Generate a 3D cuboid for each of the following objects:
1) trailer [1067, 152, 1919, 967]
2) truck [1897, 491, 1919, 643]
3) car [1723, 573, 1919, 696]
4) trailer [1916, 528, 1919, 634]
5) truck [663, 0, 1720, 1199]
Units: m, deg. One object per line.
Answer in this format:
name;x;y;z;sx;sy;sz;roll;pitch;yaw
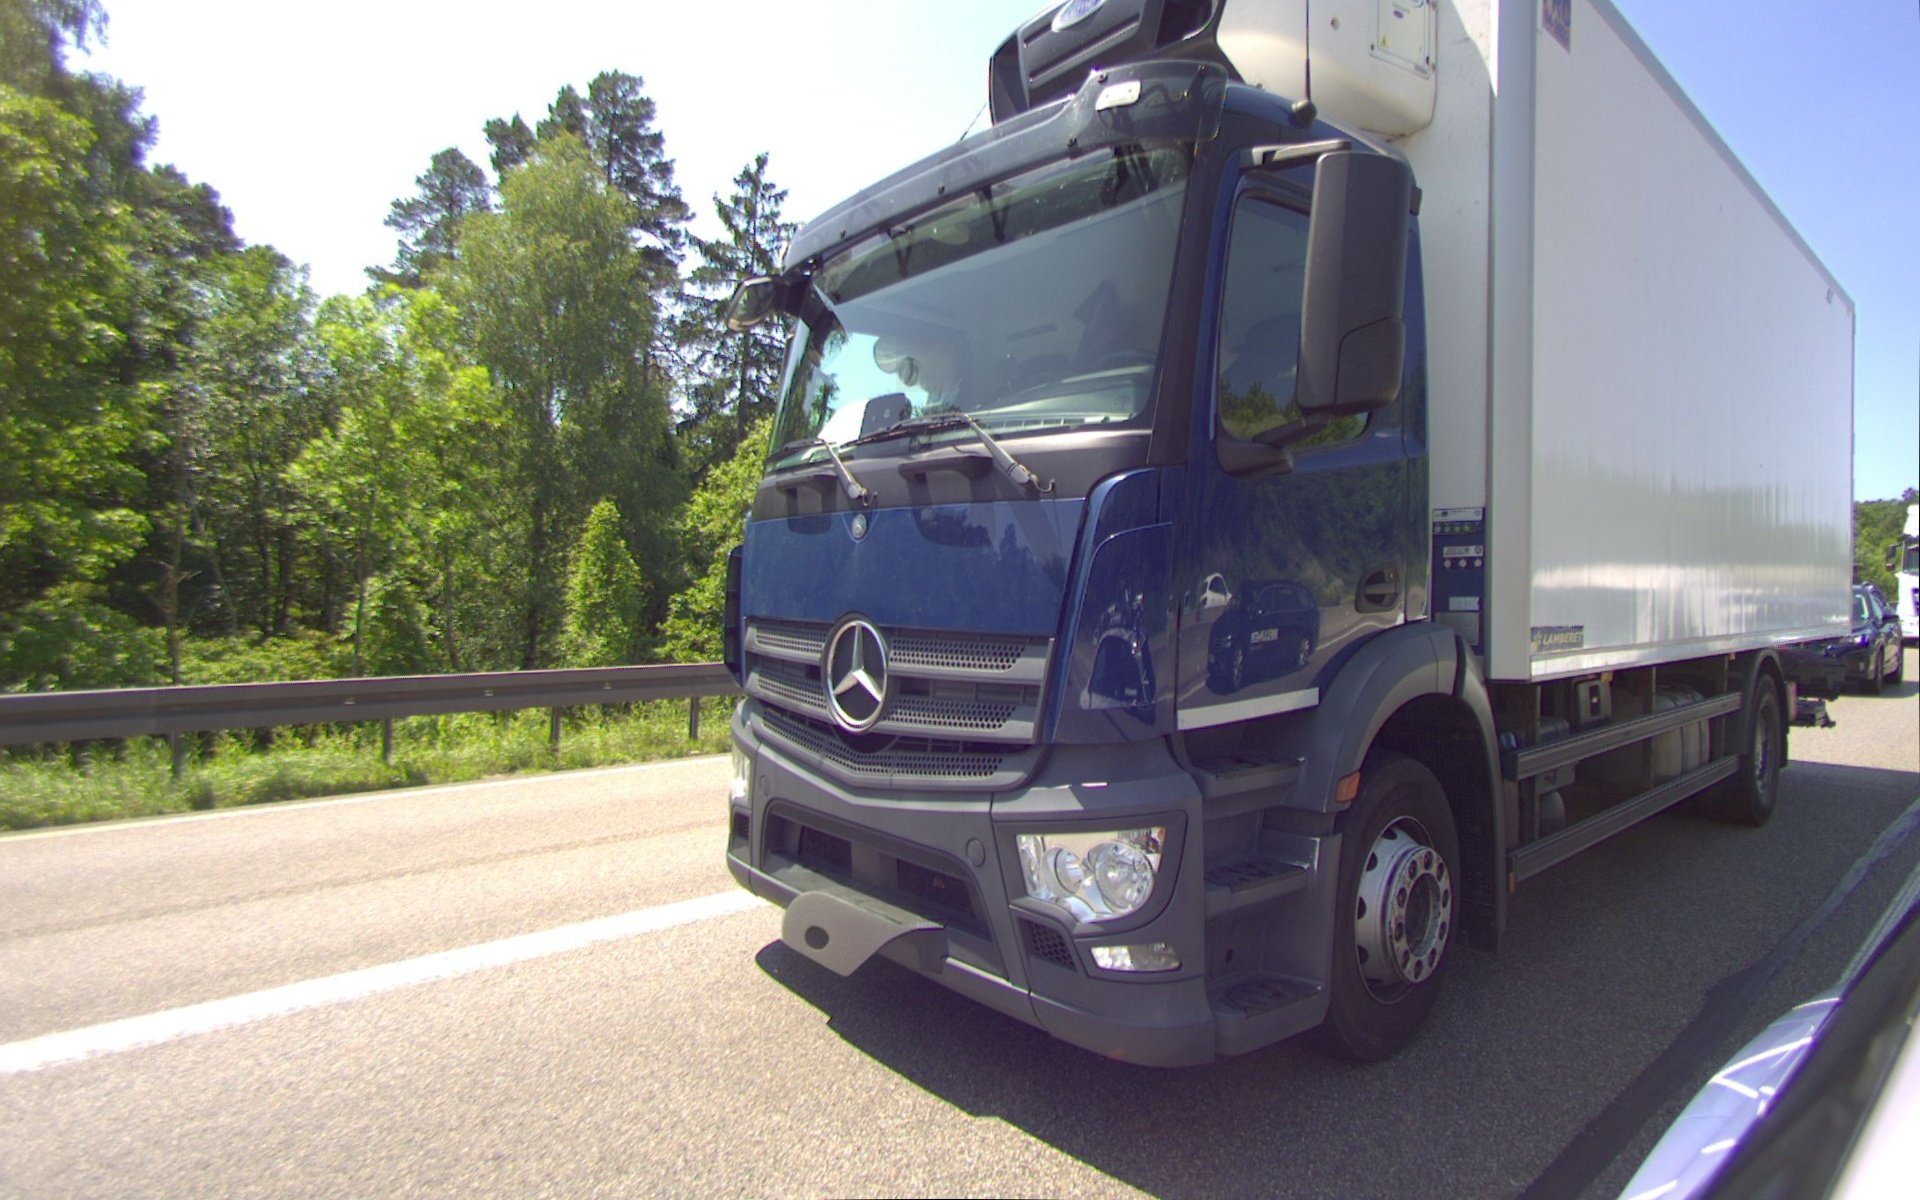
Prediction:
trailer;4.377;-0.189;7.121;7.741;2.935;2.561;-1;1;-40
truck;29.546;-0.975;29.247;7.205;4.135;2.765;-2;1;-40
car;14.343;0.433;16.735;4.534;1.713;1.996;-2;3;-43
trailer;34.495;-1.104;33.619;11.416;4.133;2.765;-2;3;-41
truck;1.155;-0.111;4.410;4.031;2.977;2.562;-2;2;-39
